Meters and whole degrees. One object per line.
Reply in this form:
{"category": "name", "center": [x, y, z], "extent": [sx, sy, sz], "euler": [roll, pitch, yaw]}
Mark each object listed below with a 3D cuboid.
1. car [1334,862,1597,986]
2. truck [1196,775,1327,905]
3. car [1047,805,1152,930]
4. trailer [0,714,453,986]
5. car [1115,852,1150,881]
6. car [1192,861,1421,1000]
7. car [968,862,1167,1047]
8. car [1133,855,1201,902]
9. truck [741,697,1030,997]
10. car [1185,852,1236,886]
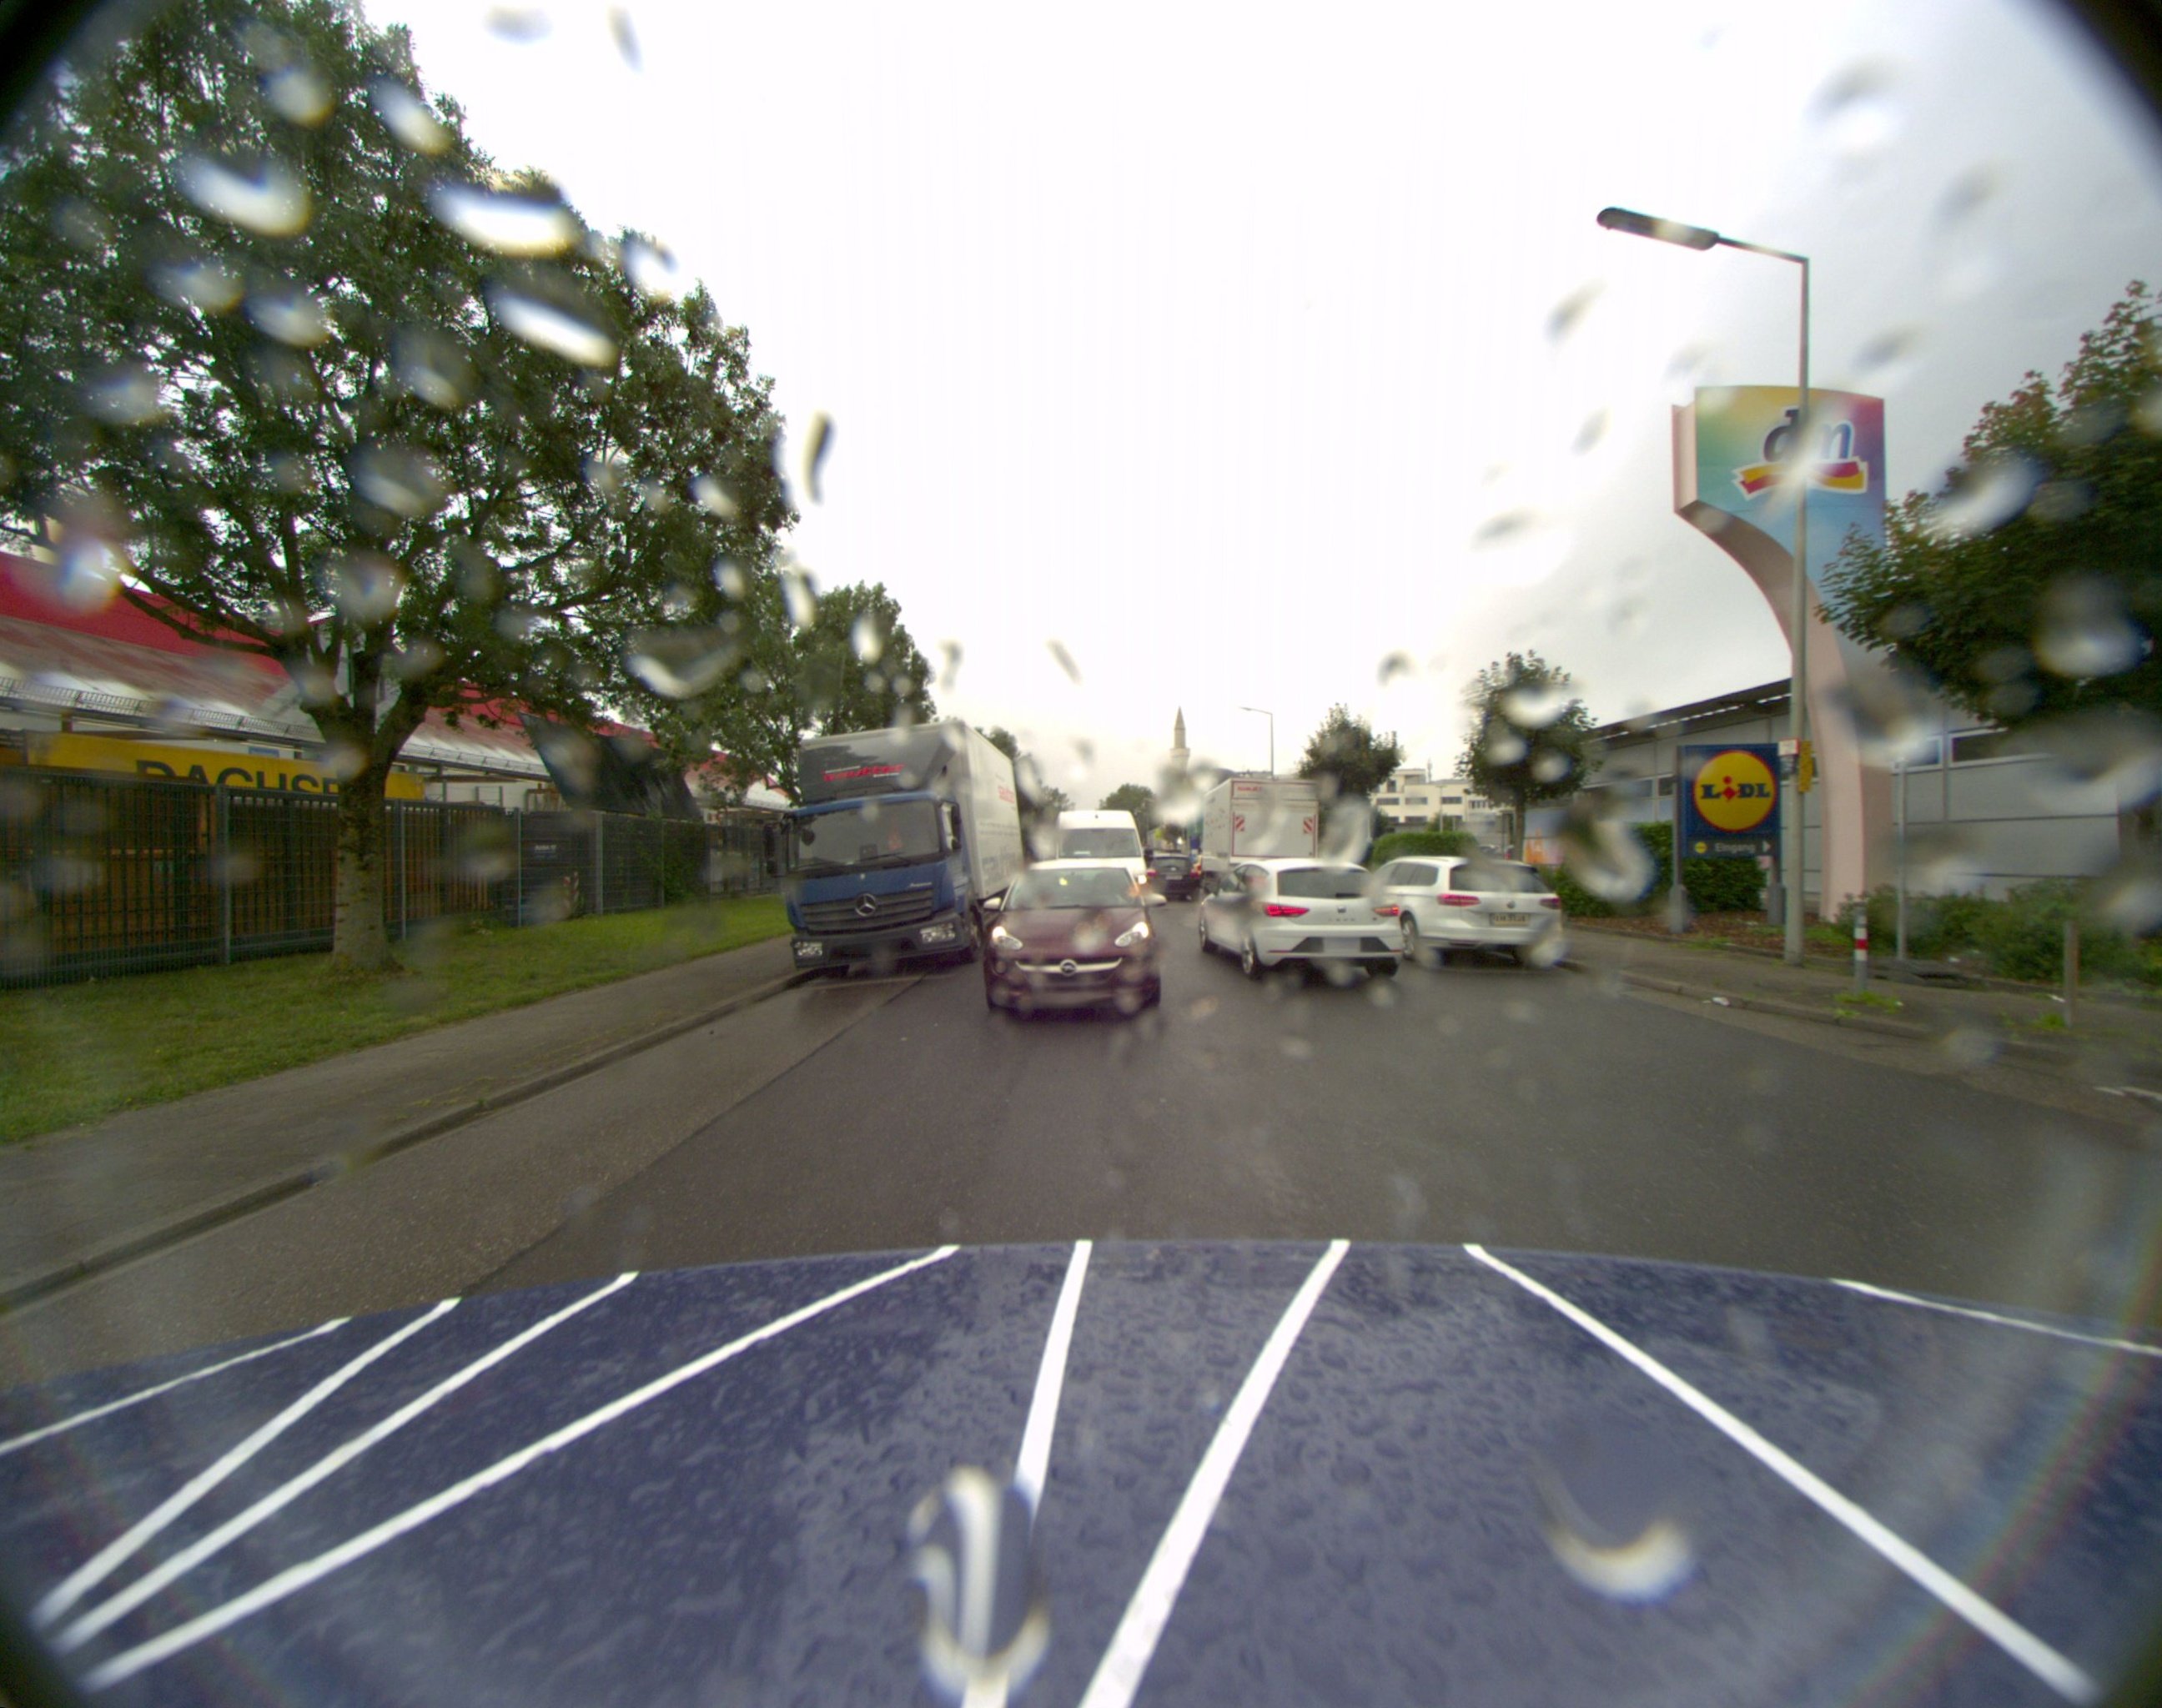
{"category": "car", "center": [5.452, 0.878, 11.554], "extent": [1.840, 1.426, 4.492], "euler": [1, 0, 2]}
{"category": "truck", "center": [5.826, -0.426, 25.916], "extent": [2.888, 3.724, 7.868], "euler": [-1, 0, 3]}
{"category": "car", "center": [0.353, 0.260, 17.990], "extent": [2.085, 2.466, 5.346], "euler": [-1, 0, 0]}
{"category": "trailer", "center": [-18.203, -0.133, 15.268], "extent": [2.974, 4.219, 9.469], "euler": [-1, 1, 1]}
{"category": "car", "center": [2.723, 0.642, 40.734], "extent": [1.615, 1.430, 3.407], "euler": [0, 0, -1]}
{"category": "car", "center": [2.703, 0.835, 10.107], "extent": [1.735, 1.432, 3.999], "euler": [0, 0, -2]}
{"category": "car", "center": [-0.086, 0.876, 8.261], "extent": [1.637, 1.447, 3.578], "euler": [-2, 1, 1]}
{"category": "car", "center": [2.757, 0.738, 25.074], "extent": [1.735, 1.432, 3.999], "euler": [0, 0, -1]}
{"category": "truck", "center": [-2.764, -0.106, 13.719], "extent": [2.678, 3.670, 8.009], "euler": [-4, 0, 2]}
{"category": "car", "center": [5.865, 0.657, 34.718], "extent": [1.691, 1.457, 3.513], "euler": [-1, 0, 0]}
